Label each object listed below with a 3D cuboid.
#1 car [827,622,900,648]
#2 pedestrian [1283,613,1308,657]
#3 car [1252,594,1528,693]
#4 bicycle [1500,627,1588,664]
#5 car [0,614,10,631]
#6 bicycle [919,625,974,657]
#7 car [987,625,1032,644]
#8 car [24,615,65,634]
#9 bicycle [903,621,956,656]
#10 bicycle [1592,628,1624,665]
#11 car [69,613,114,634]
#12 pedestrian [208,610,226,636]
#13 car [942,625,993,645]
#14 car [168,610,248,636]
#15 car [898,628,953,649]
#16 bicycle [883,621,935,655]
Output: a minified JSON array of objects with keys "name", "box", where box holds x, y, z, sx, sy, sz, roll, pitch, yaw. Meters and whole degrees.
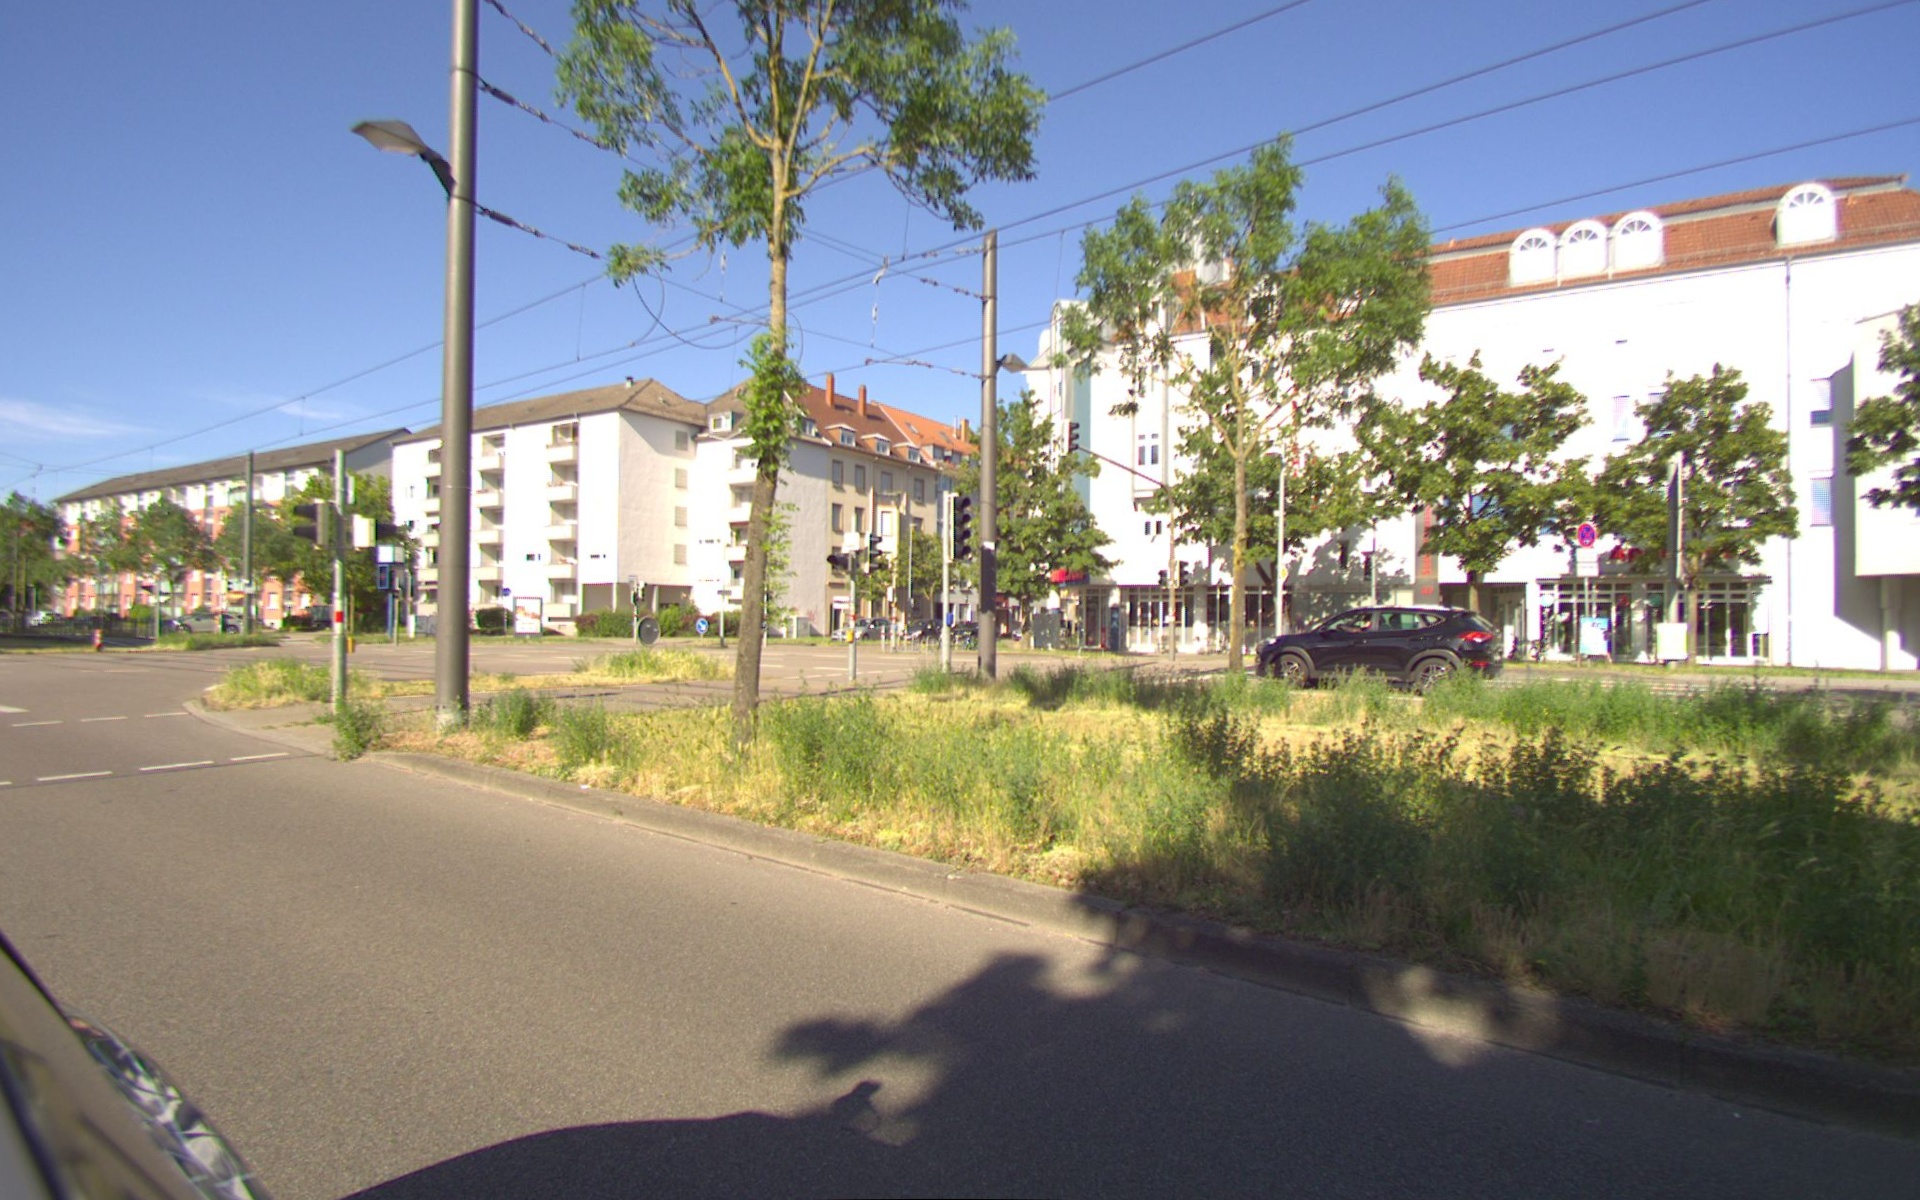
[{"name":"car","box":[-5.680,2.049,60.070,2.326,1.476,4.145,-1,-2,31]},{"name":"pedestrian","box":[13.401,1.396,40.414,0.777,1.704,0.794,-1,-2,32]},{"name":"car","box":[8.016,0.783,19.095,4.484,1.653,1.801,-1,-2,39]},{"name":"bicycle","box":[20.103,1.540,34.856,2.549,1.222,0.710,-1,-2,38]},{"name":"car","box":[-95.995,2.235,100.236,4.227,1.723,1.813,-1,-2,32]},{"name":"bicycle","box":[-0.518,1.579,39.389,0.782,1.168,2.548,-1,-2,36]},{"name":"car","box":[3.700,2.563,75.355,1.697,1.320,4.046,-1,-2,31]},{"name":"car","box":[-83.183,2.206,91.926,4.227,1.723,1.675,-1,-2,32]},{"name":"bicycle","box":[-1.190,1.516,39.992,0.661,1.319,2.548,-1,-2,36]},{"name":"bicycle","box":[22.154,1.560,34.579,0.718,1.222,2.520,-1,-2,37]},{"name":"car","box":[-74.217,2.019,86.466,4.227,1.723,1.675,-1,-2,32]},{"name":"pedestrian","box":[-50.826,1.582,69.264,0.701,1.724,0.778,-1,-2,32]},{"name":"car","box":[0.541,2.377,69.738,1.697,1.320,4.046,-1,-2,31]},{"name":"car","box":[-51.811,1.608,69.853,4.168,1.723,1.699,1,-2,-27]},{"name":"car","box":[-2.215,2.458,65.522,1.697,1.320,4.046,-1,-2,31]},{"name":"bicycle","box":[-2.025,1.524,40.635,0.661,1.319,2.548,-1,-2,36]}]
